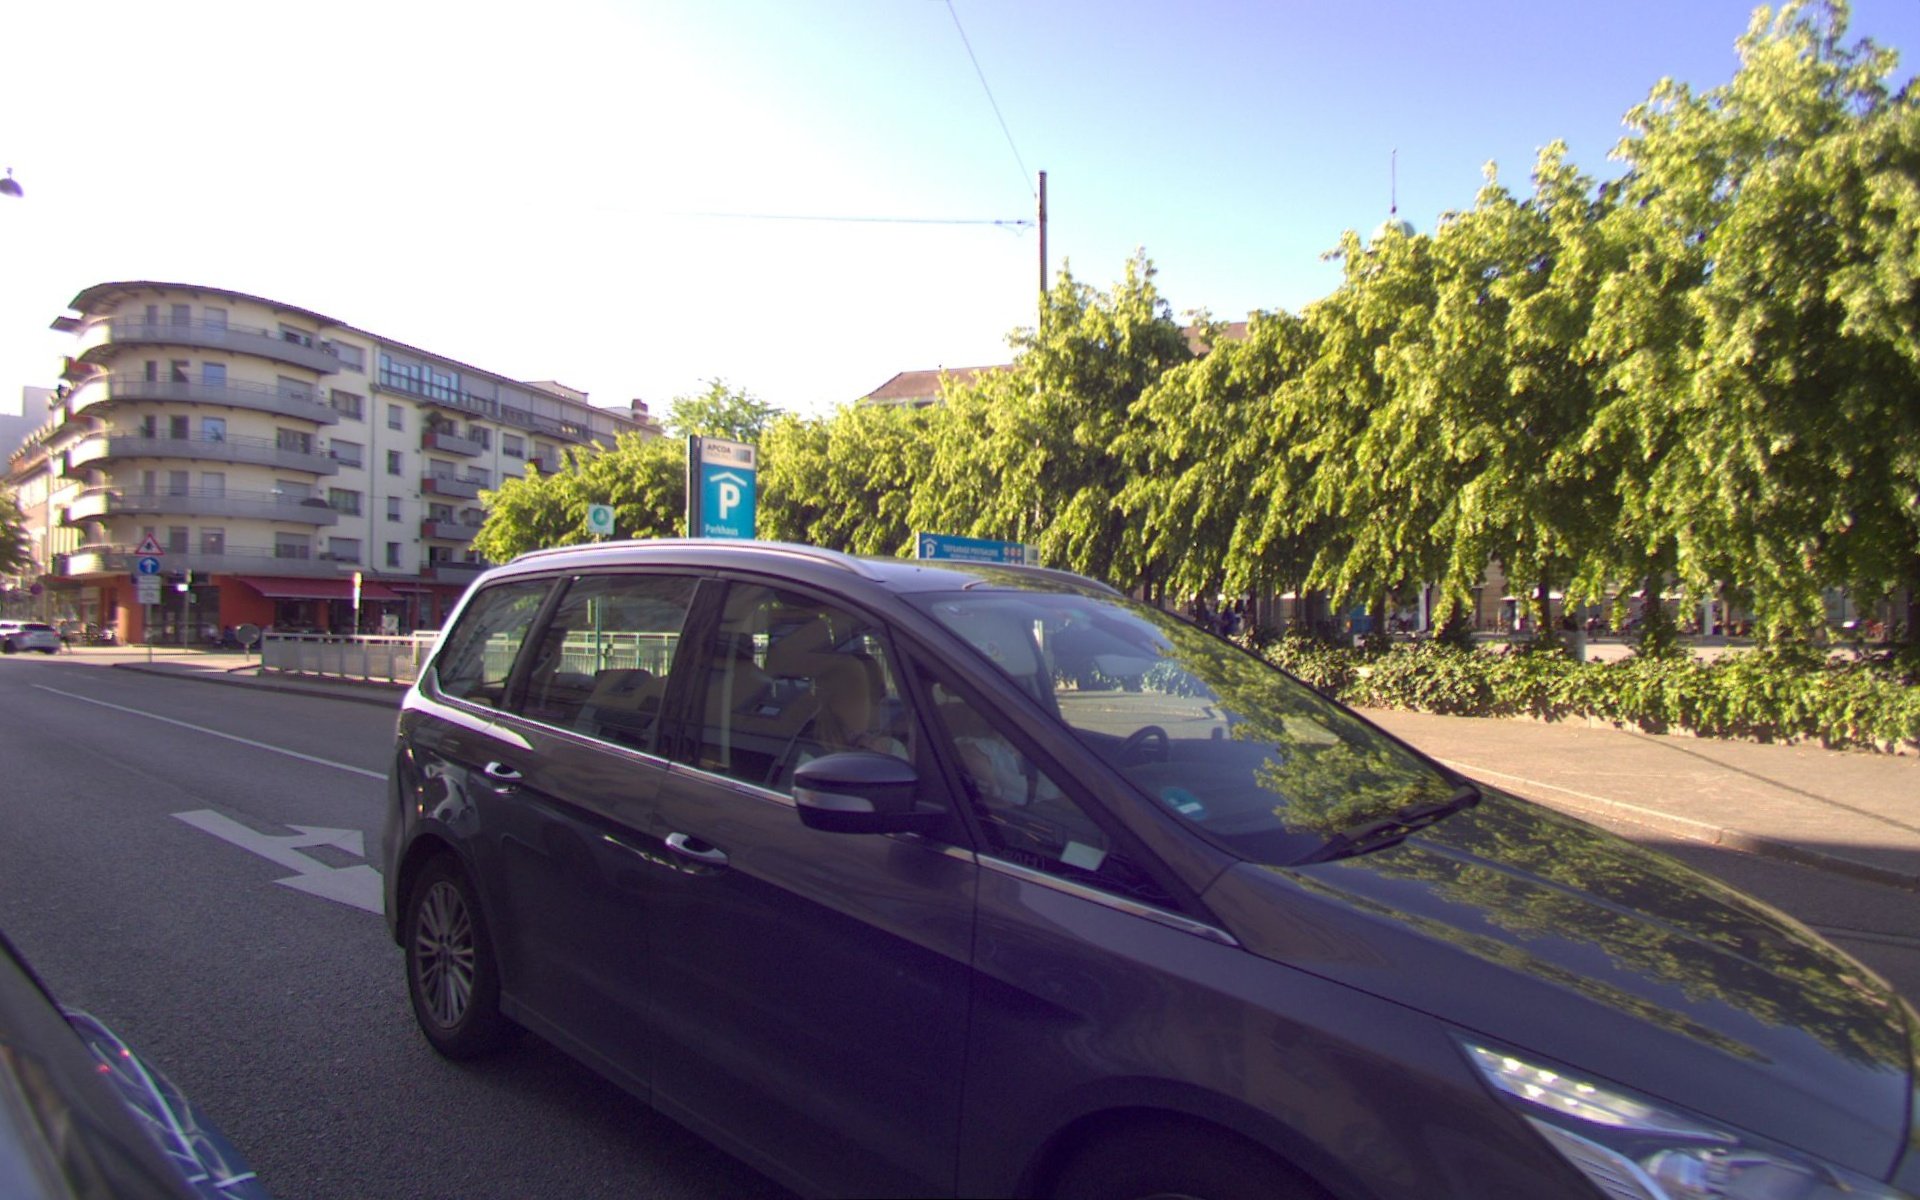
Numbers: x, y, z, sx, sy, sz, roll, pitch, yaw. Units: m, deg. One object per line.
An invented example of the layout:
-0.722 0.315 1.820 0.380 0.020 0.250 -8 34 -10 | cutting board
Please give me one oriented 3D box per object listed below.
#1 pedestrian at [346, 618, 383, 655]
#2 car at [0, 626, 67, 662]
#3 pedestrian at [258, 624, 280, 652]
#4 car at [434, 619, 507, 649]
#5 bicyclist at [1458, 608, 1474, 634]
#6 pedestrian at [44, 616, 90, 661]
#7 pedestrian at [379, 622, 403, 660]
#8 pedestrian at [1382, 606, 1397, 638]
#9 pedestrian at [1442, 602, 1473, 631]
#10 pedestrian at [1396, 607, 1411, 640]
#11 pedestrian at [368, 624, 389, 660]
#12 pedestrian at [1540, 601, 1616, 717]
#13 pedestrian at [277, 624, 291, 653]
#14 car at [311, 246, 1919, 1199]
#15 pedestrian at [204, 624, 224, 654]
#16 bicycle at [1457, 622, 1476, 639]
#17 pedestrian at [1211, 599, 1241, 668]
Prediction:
-32.692 1.997 55.575 1.251 2.029 1.226 -1 -1 19 | pedestrian
-40.649 1.866 43.068 4.205 1.445 1.797 -1 -1 11 | car
-36.739 2.015 53.779 0.782 1.473 0.582 0 -1 3 | pedestrian
-30.529 2.119 63.211 1.983 1.763 3.977 -1 -1 17 | car
28.948 1.191 57.921 0.667 1.439 0.695 -1 -1 17 | bicyclist
-40.759 1.747 46.202 1.008 2.029 1.198 -1 0 4 | pedestrian
-27.826 1.982 49.512 0.753 1.819 0.748 -1 -1 25 | pedestrian
26.279 1.357 61.868 0.751 1.948 0.938 -1 -1 20 | pedestrian
33.800 1.108 68.829 1.431 1.926 1.257 -1 -1 0 | pedestrian
26.973 1.427 61.518 0.751 1.948 0.938 -1 -1 20 | pedestrian
-28.111 2.040 48.941 0.697 1.719 0.667 -1 -1 33 | pedestrian
9.764 0.907 15.983 0.885 1.771 0.738 0 -1 -39 | pedestrian
-35.318 2.010 52.899 0.573 1.501 0.794 0 -1 -36 | pedestrian
-0.010 0.599 3.067 4.724 1.785 1.973 -1 -2 40 | car
-37.741 1.977 51.209 0.780 1.472 0.583 0 -1 -40 | pedestrian
28.925 1.746 57.864 0.584 0.961 1.897 -1 -1 15 | bicycle
6.584 0.818 25.062 0.672 1.683 0.843 -1 -1 13 | pedestrian
